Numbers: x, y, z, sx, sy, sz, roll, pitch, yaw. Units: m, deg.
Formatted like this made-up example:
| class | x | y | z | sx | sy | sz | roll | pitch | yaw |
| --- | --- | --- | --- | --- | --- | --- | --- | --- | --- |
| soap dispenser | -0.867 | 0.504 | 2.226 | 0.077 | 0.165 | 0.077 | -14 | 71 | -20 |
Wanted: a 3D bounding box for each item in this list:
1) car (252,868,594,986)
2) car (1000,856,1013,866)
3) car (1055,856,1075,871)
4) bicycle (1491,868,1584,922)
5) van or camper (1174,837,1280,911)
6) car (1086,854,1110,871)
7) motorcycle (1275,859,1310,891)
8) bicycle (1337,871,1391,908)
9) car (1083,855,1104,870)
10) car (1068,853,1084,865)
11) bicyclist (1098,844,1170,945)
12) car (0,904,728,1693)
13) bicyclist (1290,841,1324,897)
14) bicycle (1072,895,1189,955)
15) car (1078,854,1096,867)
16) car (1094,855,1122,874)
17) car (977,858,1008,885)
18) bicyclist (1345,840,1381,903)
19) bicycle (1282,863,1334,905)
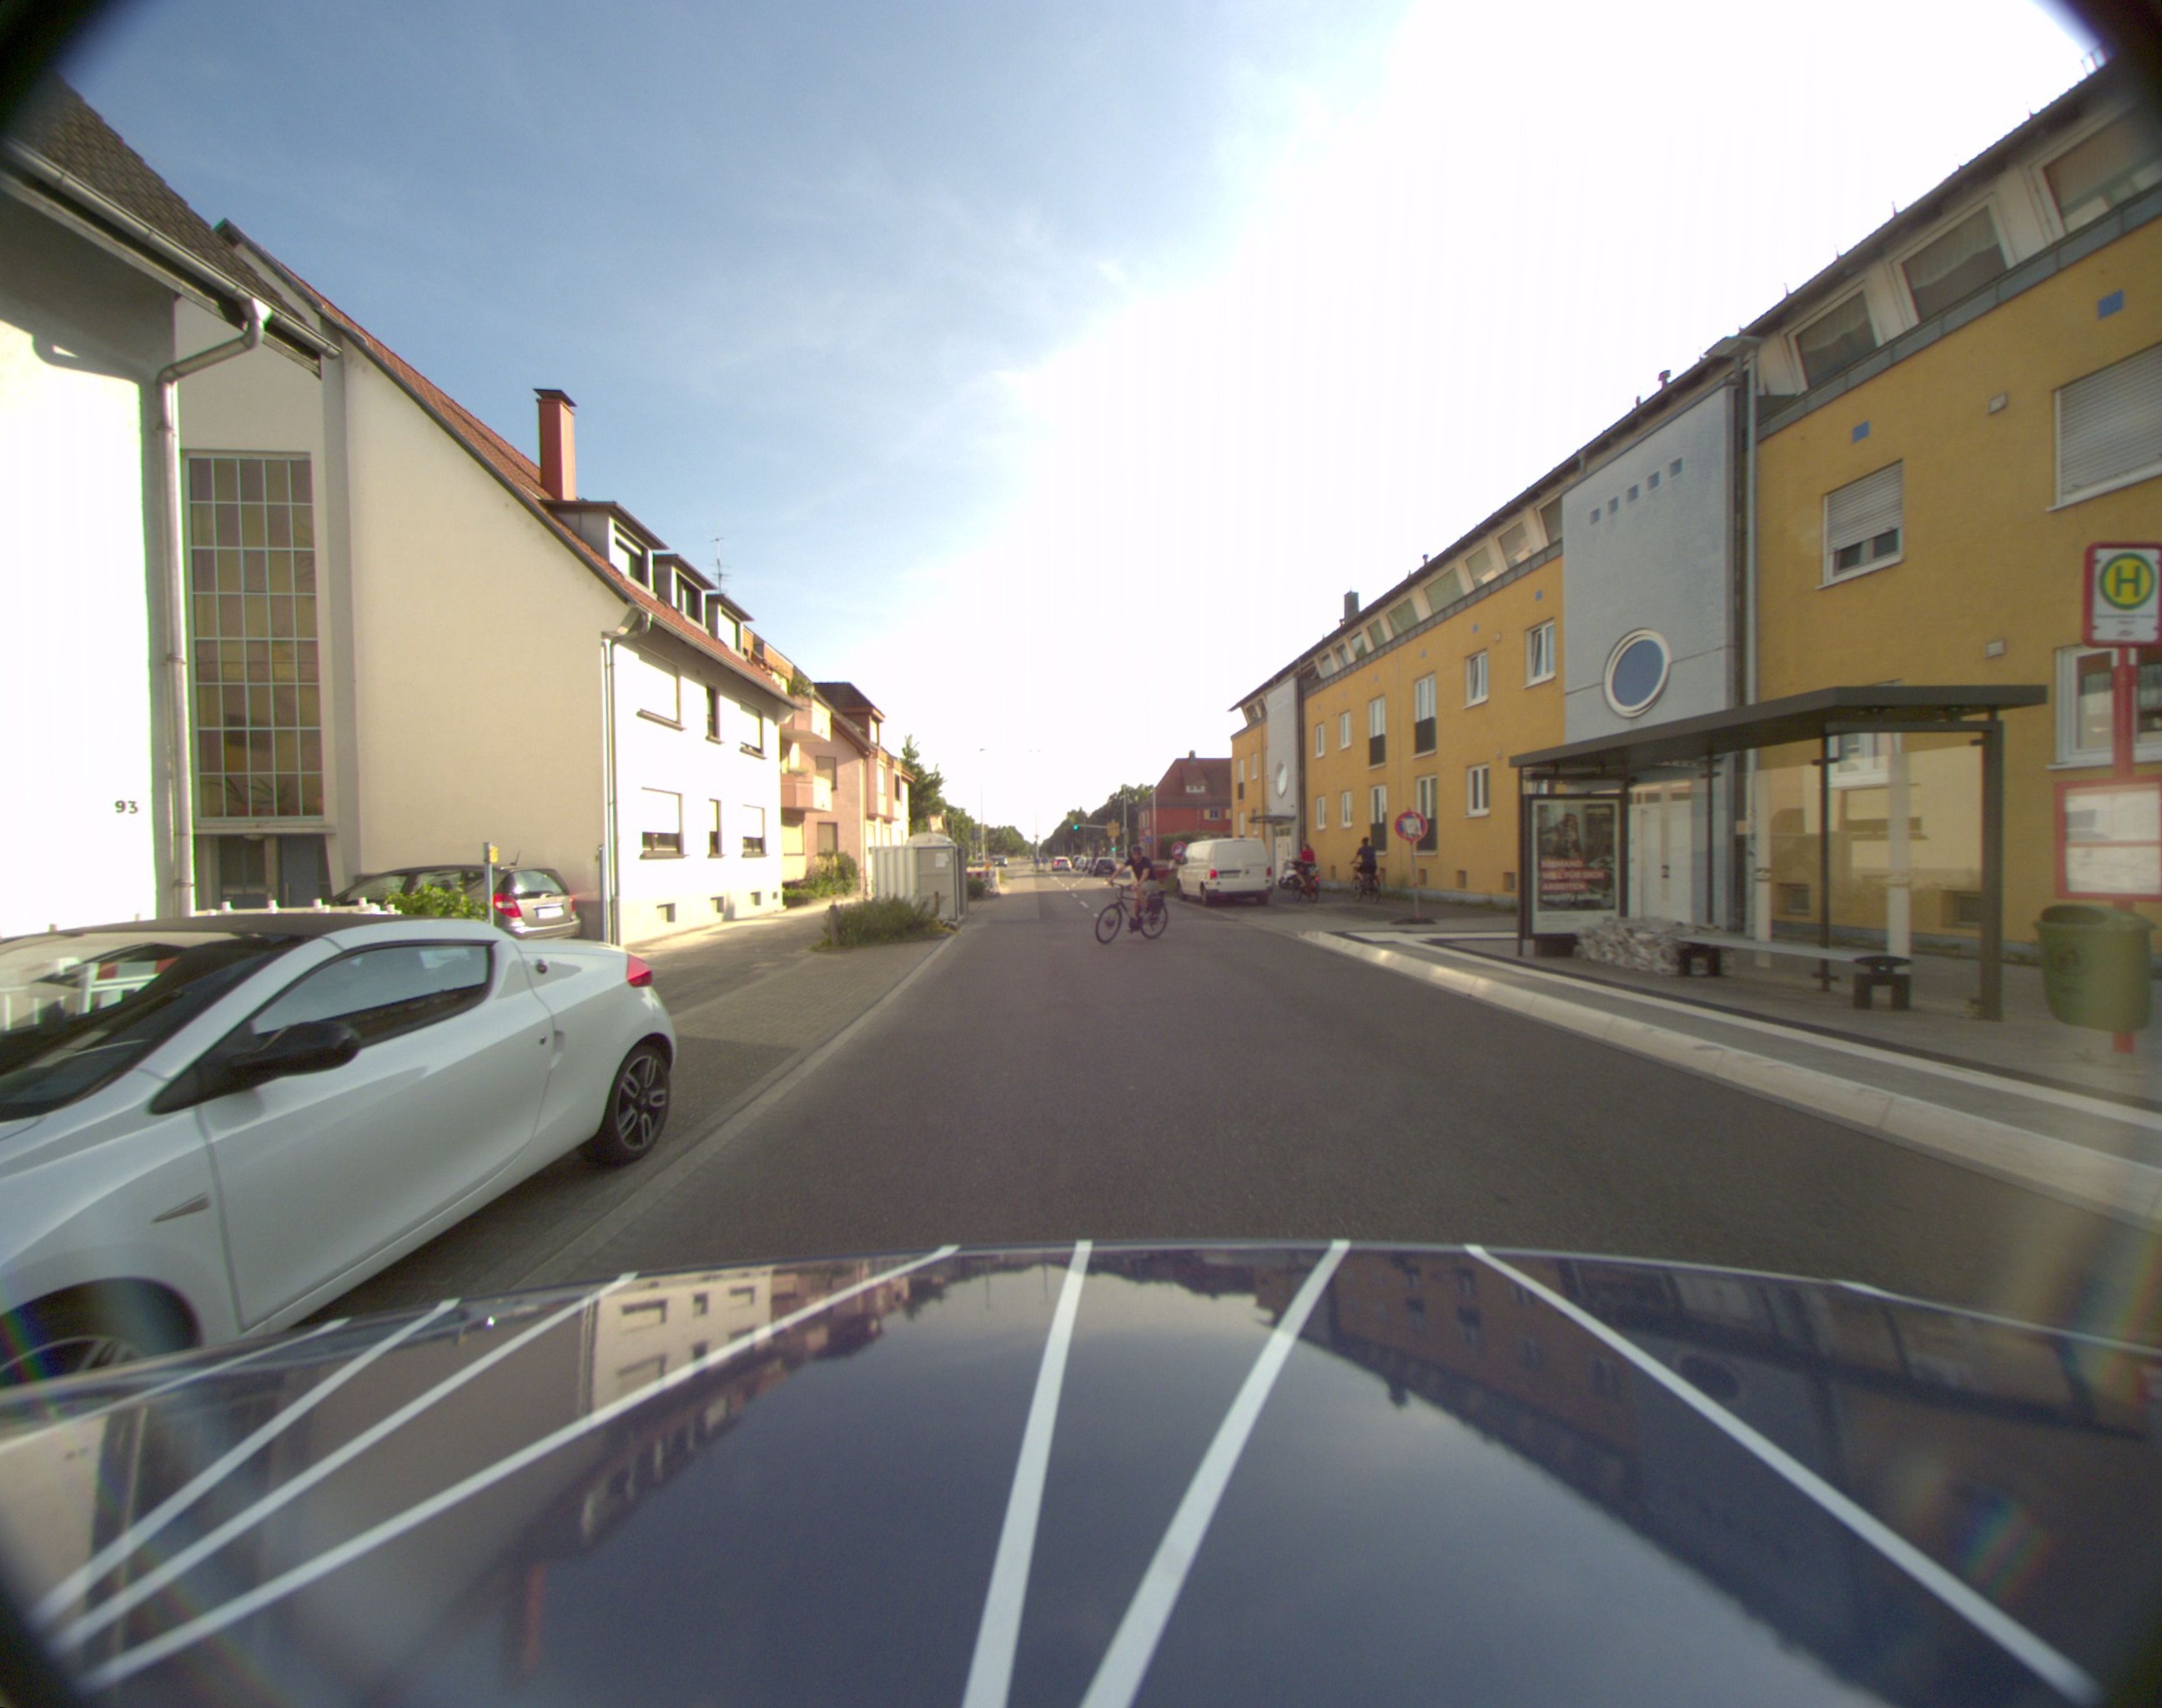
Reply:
| class | x | y | z | sx | sy | sz | roll | pitch | yaw |
| --- | --- | --- | --- | --- | --- | --- | --- | --- | --- |
| car | -10.152 | 1.078 | 11.967 | 3.750 | 1.557 | 1.794 | -2 | 1 | -1 |
| car | -11.095 | 1.066 | 113.358 | 1.795 | 1.433 | 3.999 | 1 | 0 | -3 |
| car | -1.705 | 1.029 | 81.041 | 1.982 | 1.520 | 3.999 | -2 | 0 | -3 |
| bicycle | 9.490 | 0.823 | 15.888 | 0.718 | 0.991 | 1.906 | -2 | 0 | -2 |
| van or camper | 4.363 | 0.542 | 23.563 | 1.999 | 1.991 | 4.919 | -2 | 0 | -4 |
| car | 1.537 | 0.715 | 68.811 | 1.795 | 1.433 | 3.998 | -2 | 0 | -3 |
| motorcycle | 8.131 | 0.795 | 29.277 | 0.584 | 1.176 | 1.877 | -2 | 0 | -7 |
| bicycle | 7.672 | 0.937 | 20.684 | 0.692 | 0.907 | 1.873 | -2 | 0 | -3 |
| car | 1.264 | 0.806 | 77.641 | 1.795 | 1.433 | 3.998 | -2 | 0 | -3 |
| car | -0.692 | 0.677 | 97.453 | 1.795 | 1.433 | 3.998 | -2 | 0 | -3 |
| bicyclist | 0.921 | 0.686 | 13.328 | 0.879 | 1.680 | 0.844 | -2 | 1 | -33 |
| car | -3.111 | 1.031 | 2.741 | 1.719 | 1.390 | 4.333 | 0 | 0 | -1 |
| bicyclist | 6.580 | 0.439 | 22.155 | 0.671 | 1.594 | 0.727 | -2 | 1 | -9 |
| bicycle | 0.889 | 1.216 | 13.325 | 2.030 | 0.849 | 0.679 | -2 | 0 | -33 |
| car | 0.668 | 0.767 | 87.184 | 1.795 | 1.433 | 3.999 | -2 | 0 | -3 |
| car | 2.089 | 0.798 | 59.108 | 1.795 | 1.433 | 3.998 | -1 | 0 | -3 |
| car | -5.183 | 0.994 | 44.277 | 1.636 | 1.433 | 3.407 | -2 | 0 | -8 |
| bicyclist | 7.658 | 0.466 | 20.631 | 0.675 | 1.659 | 0.666 | -2 | 1 | -3 |
| bicycle | 6.607 | 0.846 | 22.237 | 0.613 | 1.154 | 2.021 | -2 | 0 | -9 |
